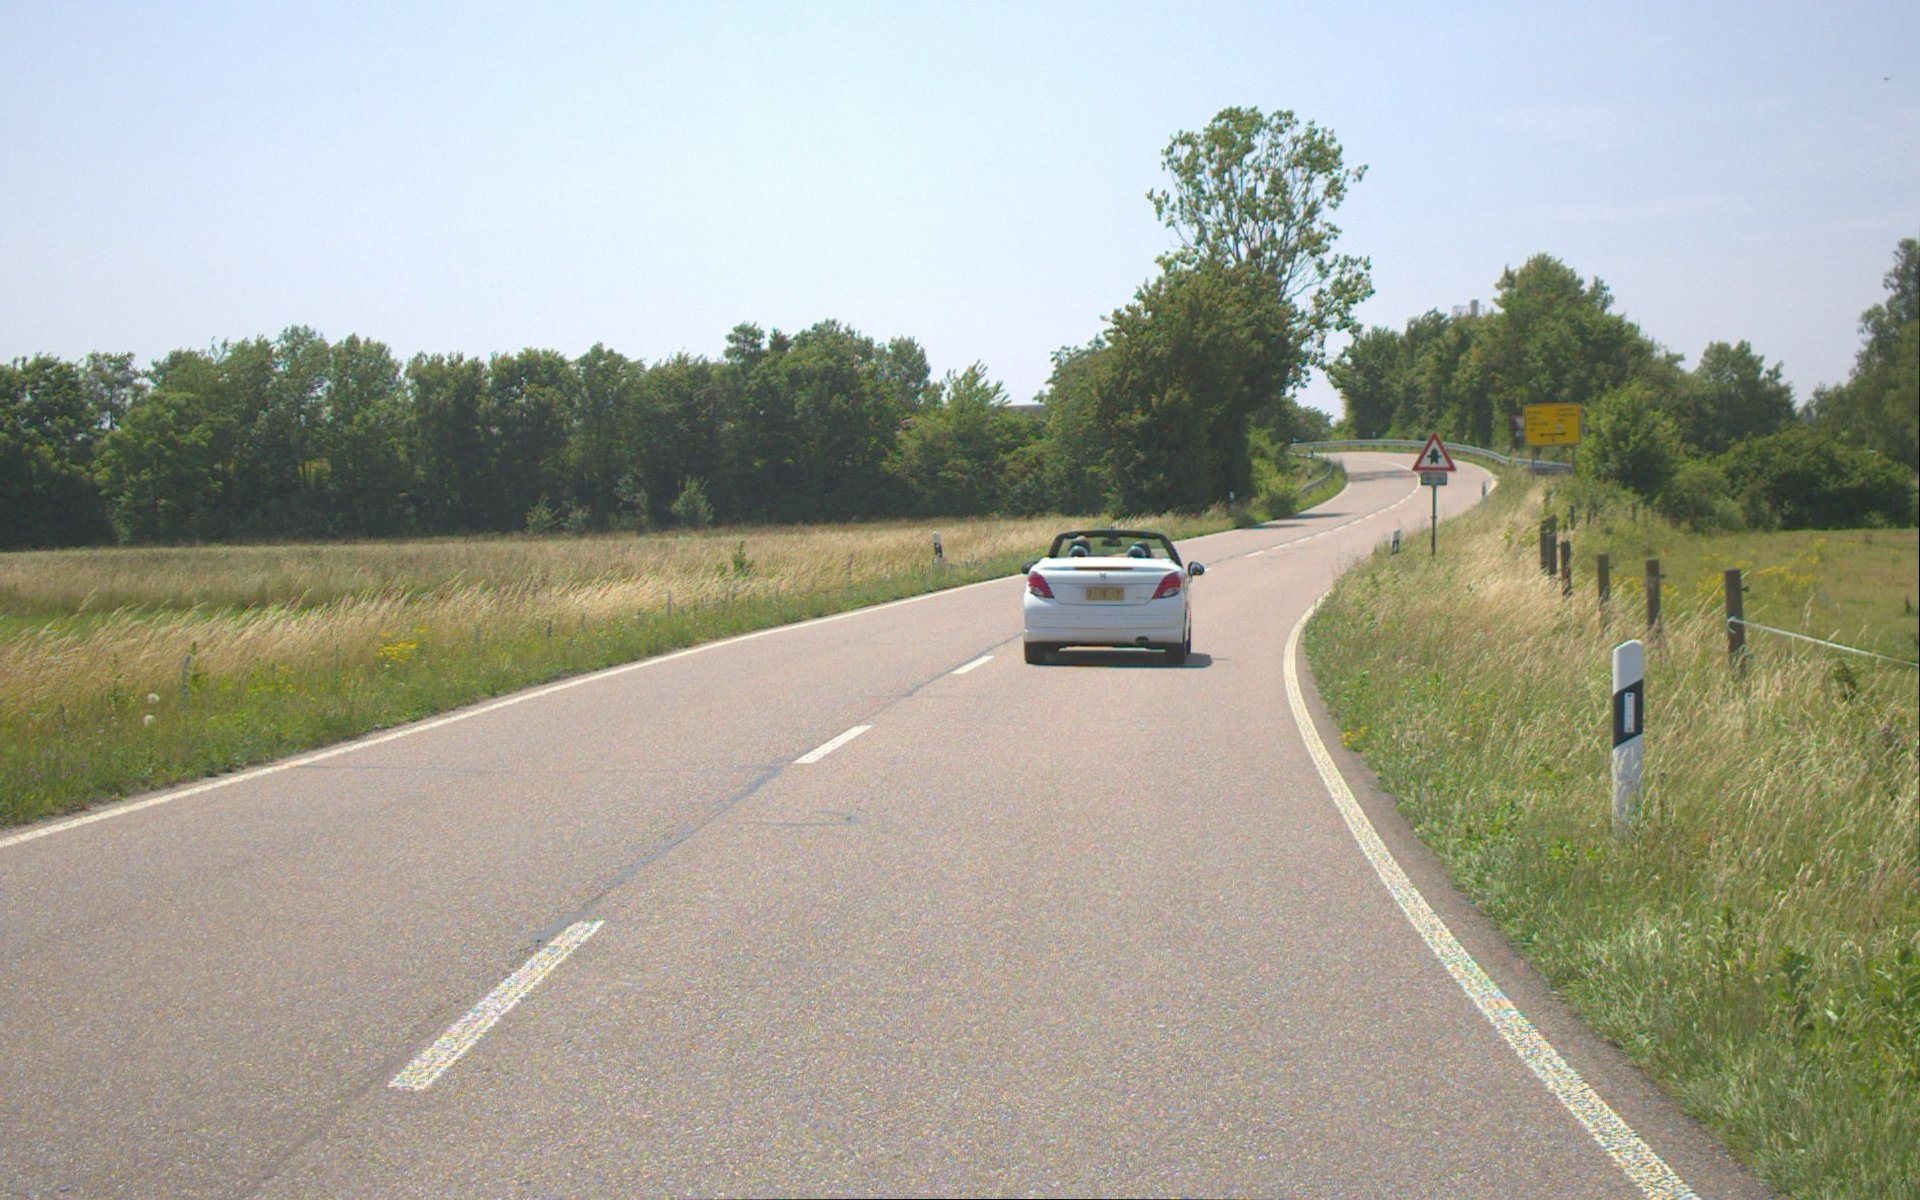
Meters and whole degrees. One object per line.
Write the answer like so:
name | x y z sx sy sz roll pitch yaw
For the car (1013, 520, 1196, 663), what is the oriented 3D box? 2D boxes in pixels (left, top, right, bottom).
car | 1.584 -0.133 36.798 1.851 1.374 4.000 0 2 4
